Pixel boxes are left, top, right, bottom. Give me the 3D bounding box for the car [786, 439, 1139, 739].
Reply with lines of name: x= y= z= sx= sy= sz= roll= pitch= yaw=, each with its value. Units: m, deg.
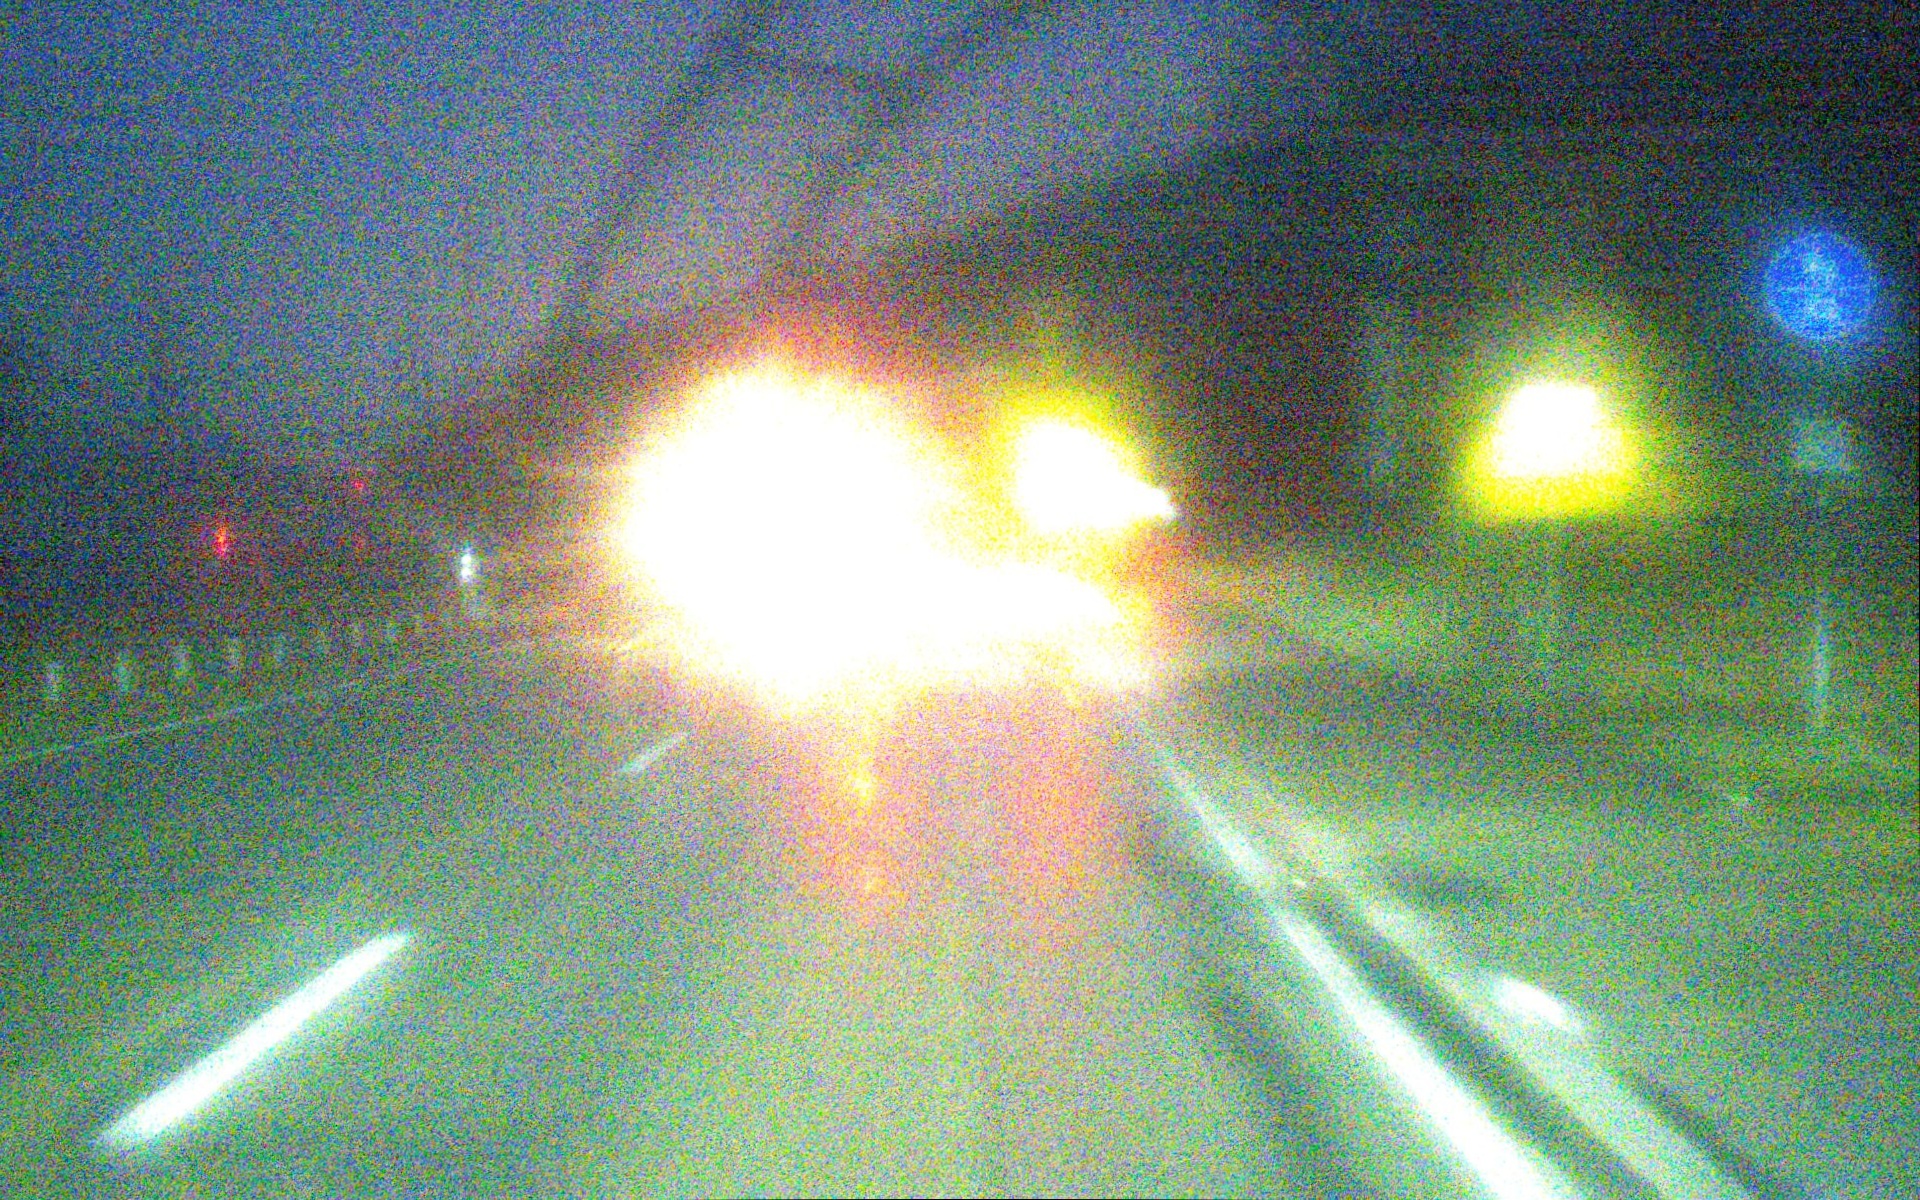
car: x=0.006 y=-0.167 z=29.674 sx=2.715 sy=2.299 sz=6.101 roll=-1 pitch=2 yaw=0
